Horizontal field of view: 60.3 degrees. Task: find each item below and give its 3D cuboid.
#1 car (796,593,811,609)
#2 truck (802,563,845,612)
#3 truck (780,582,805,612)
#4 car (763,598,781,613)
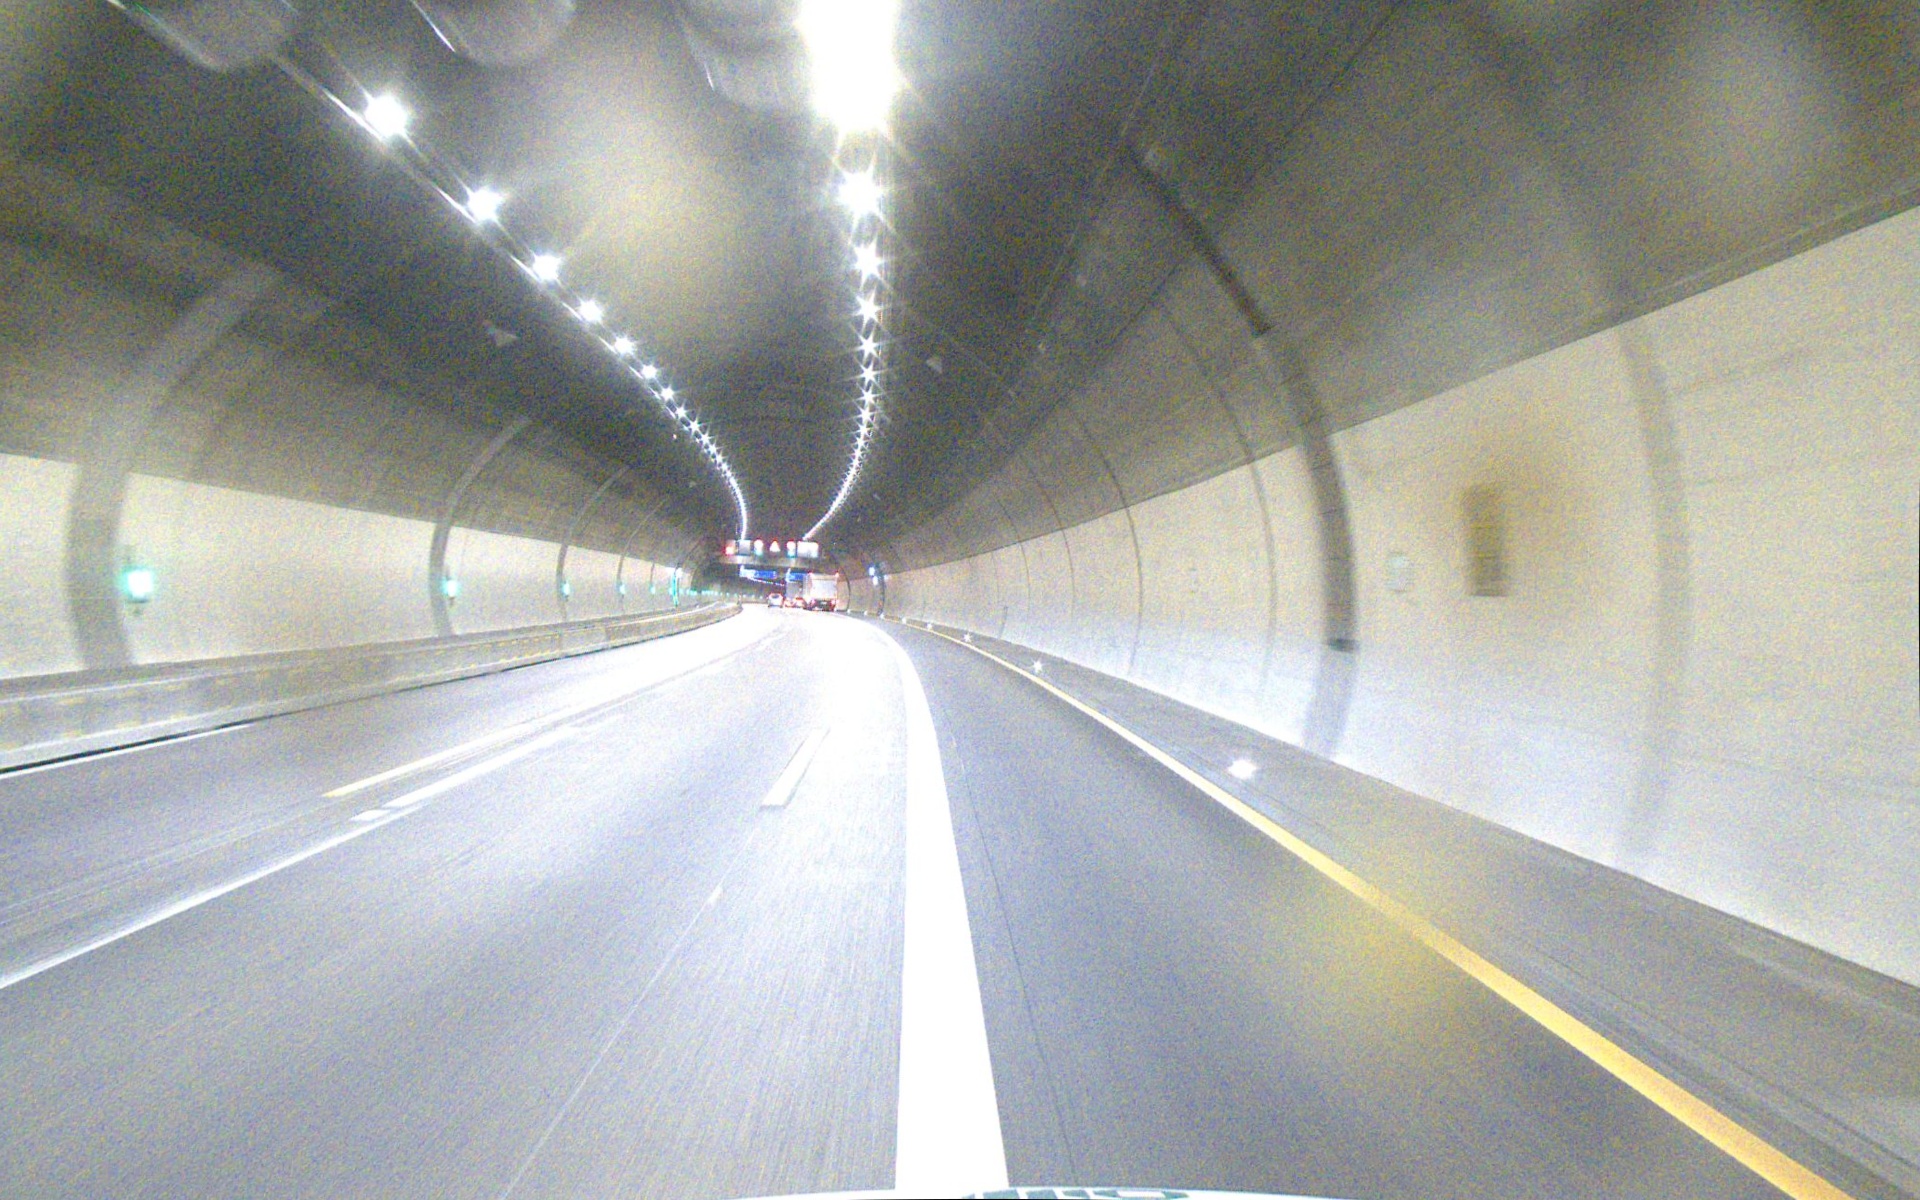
[{"bbox_3d":[-20.678,0.129,218.241,1.955,2.049,3.995,2,0,-6],"label":"car"},{"bbox_3d":[-13.231,-1.207,159.634,3.409,4.391,10.933,3,0,-8],"label":"truck"},{"bbox_3d":[-26.120,-0.496,257.152,3.409,4.391,10.933,2,0,-8],"label":"truck"},{"bbox_3d":[-21.766,0.652,191.372,1.956,1.609,3.992,3,0,-8],"label":"car"}]
